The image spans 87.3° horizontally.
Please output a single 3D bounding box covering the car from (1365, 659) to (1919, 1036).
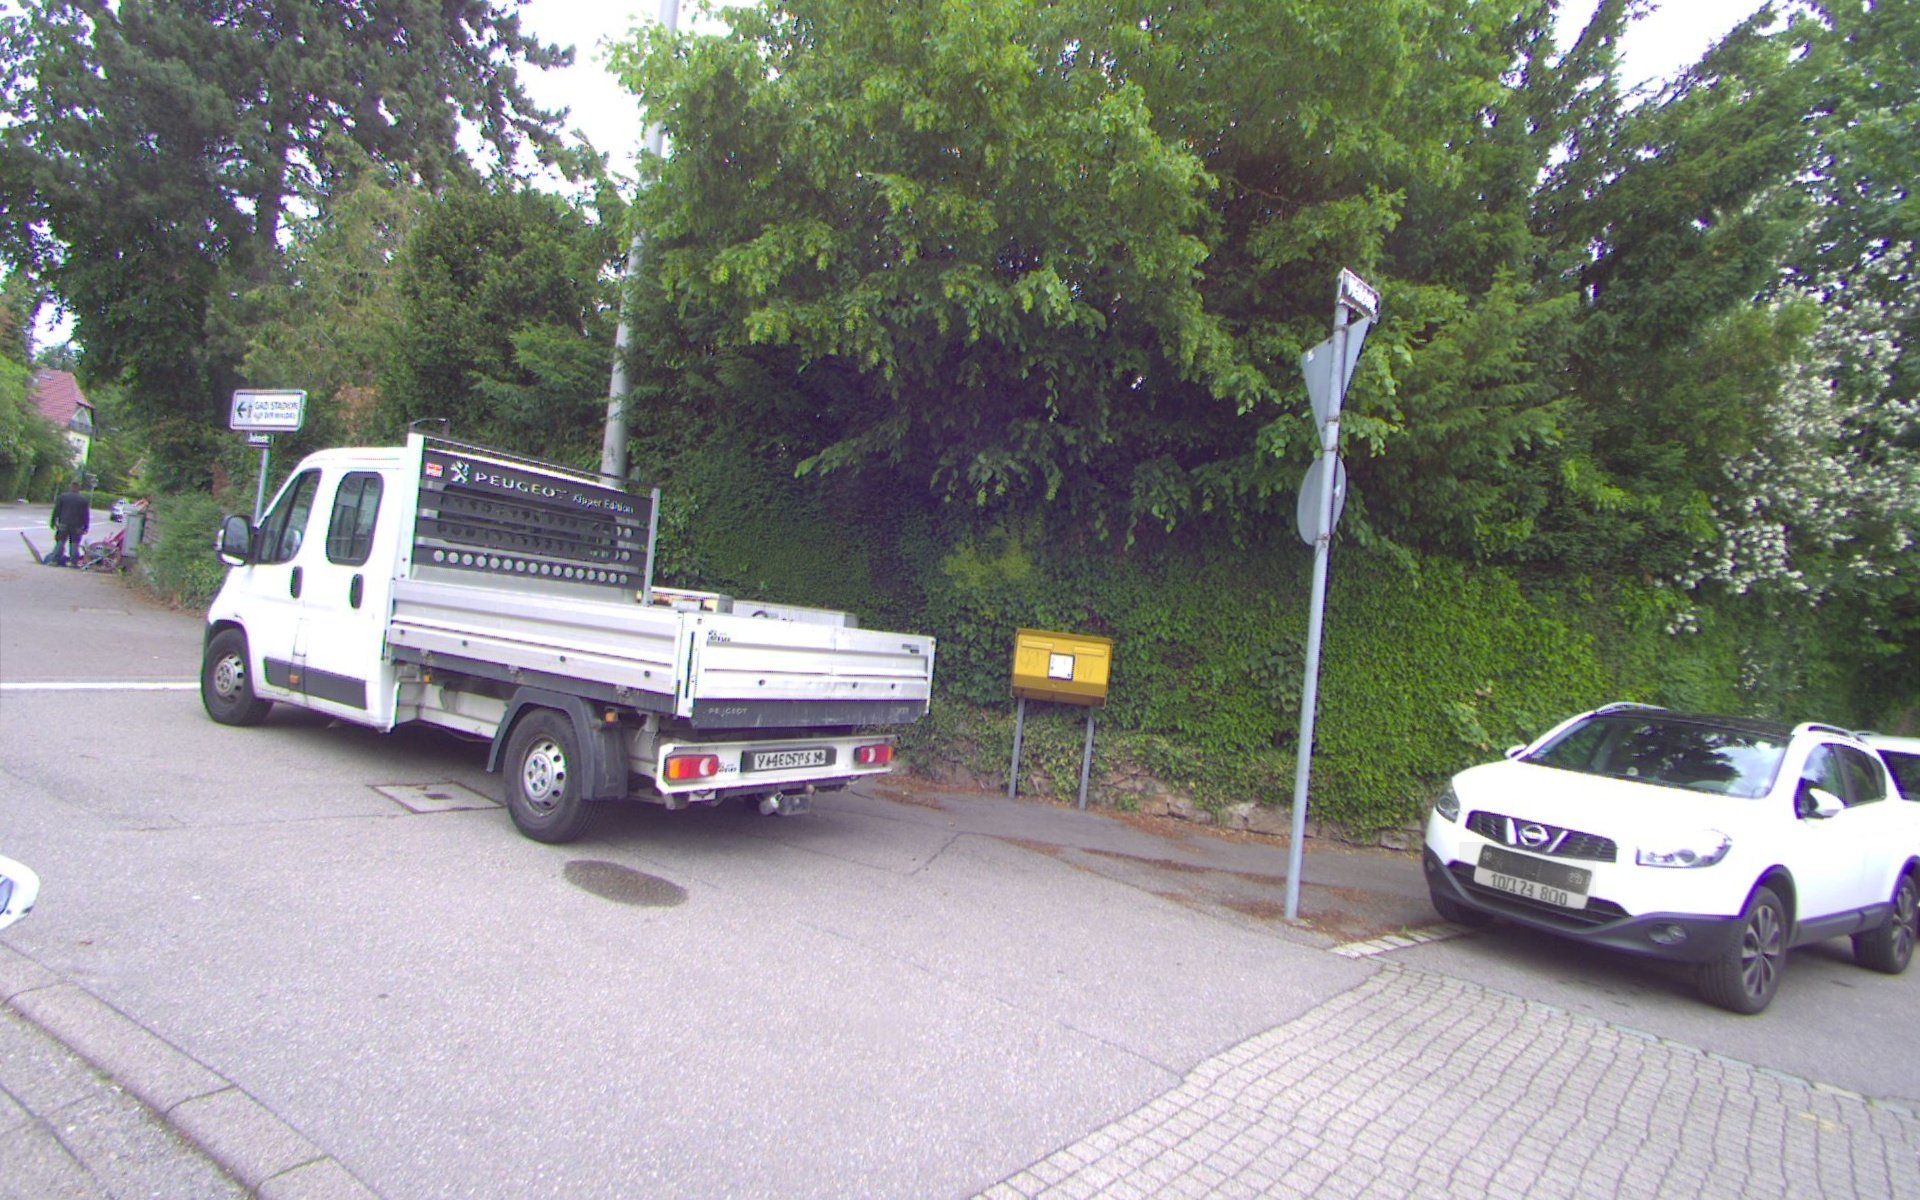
[{"bbox_3d":[4.762,1.474,6.653,4.098,1.641,1.783,9,-2,-34],"label":"car"}]

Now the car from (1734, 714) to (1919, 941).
[{"bbox_3d":[9.041,2.121,9.465,4.041,1.641,1.781,9,-3,-38],"label":"car"}]

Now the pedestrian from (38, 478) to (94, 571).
[{"bbox_3d":[-19.623,-1.643,22.088,0.549,1.929,0.597,7,-1,32],"label":"pedestrian"}]

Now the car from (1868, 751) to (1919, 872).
[{"bbox_3d":[13.826,2.926,13.469,4.040,1.440,1.781,8,-2,-38],"label":"car"}]

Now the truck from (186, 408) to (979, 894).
[{"bbox_3d":[-2.938,0.088,7.158,5.631,2.270,2.211,6,-2,34],"label":"truck"}]

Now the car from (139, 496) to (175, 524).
[{"bbox_3d":[-71.523,-7.975,89.613,1.982,2.037,3.964,8,-2,-34],"label":"car"}]

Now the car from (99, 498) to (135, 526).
[{"bbox_3d":[-64.638,-6.743,77.206,1.798,1.775,4.441,7,0,-37],"label":"car"}]
